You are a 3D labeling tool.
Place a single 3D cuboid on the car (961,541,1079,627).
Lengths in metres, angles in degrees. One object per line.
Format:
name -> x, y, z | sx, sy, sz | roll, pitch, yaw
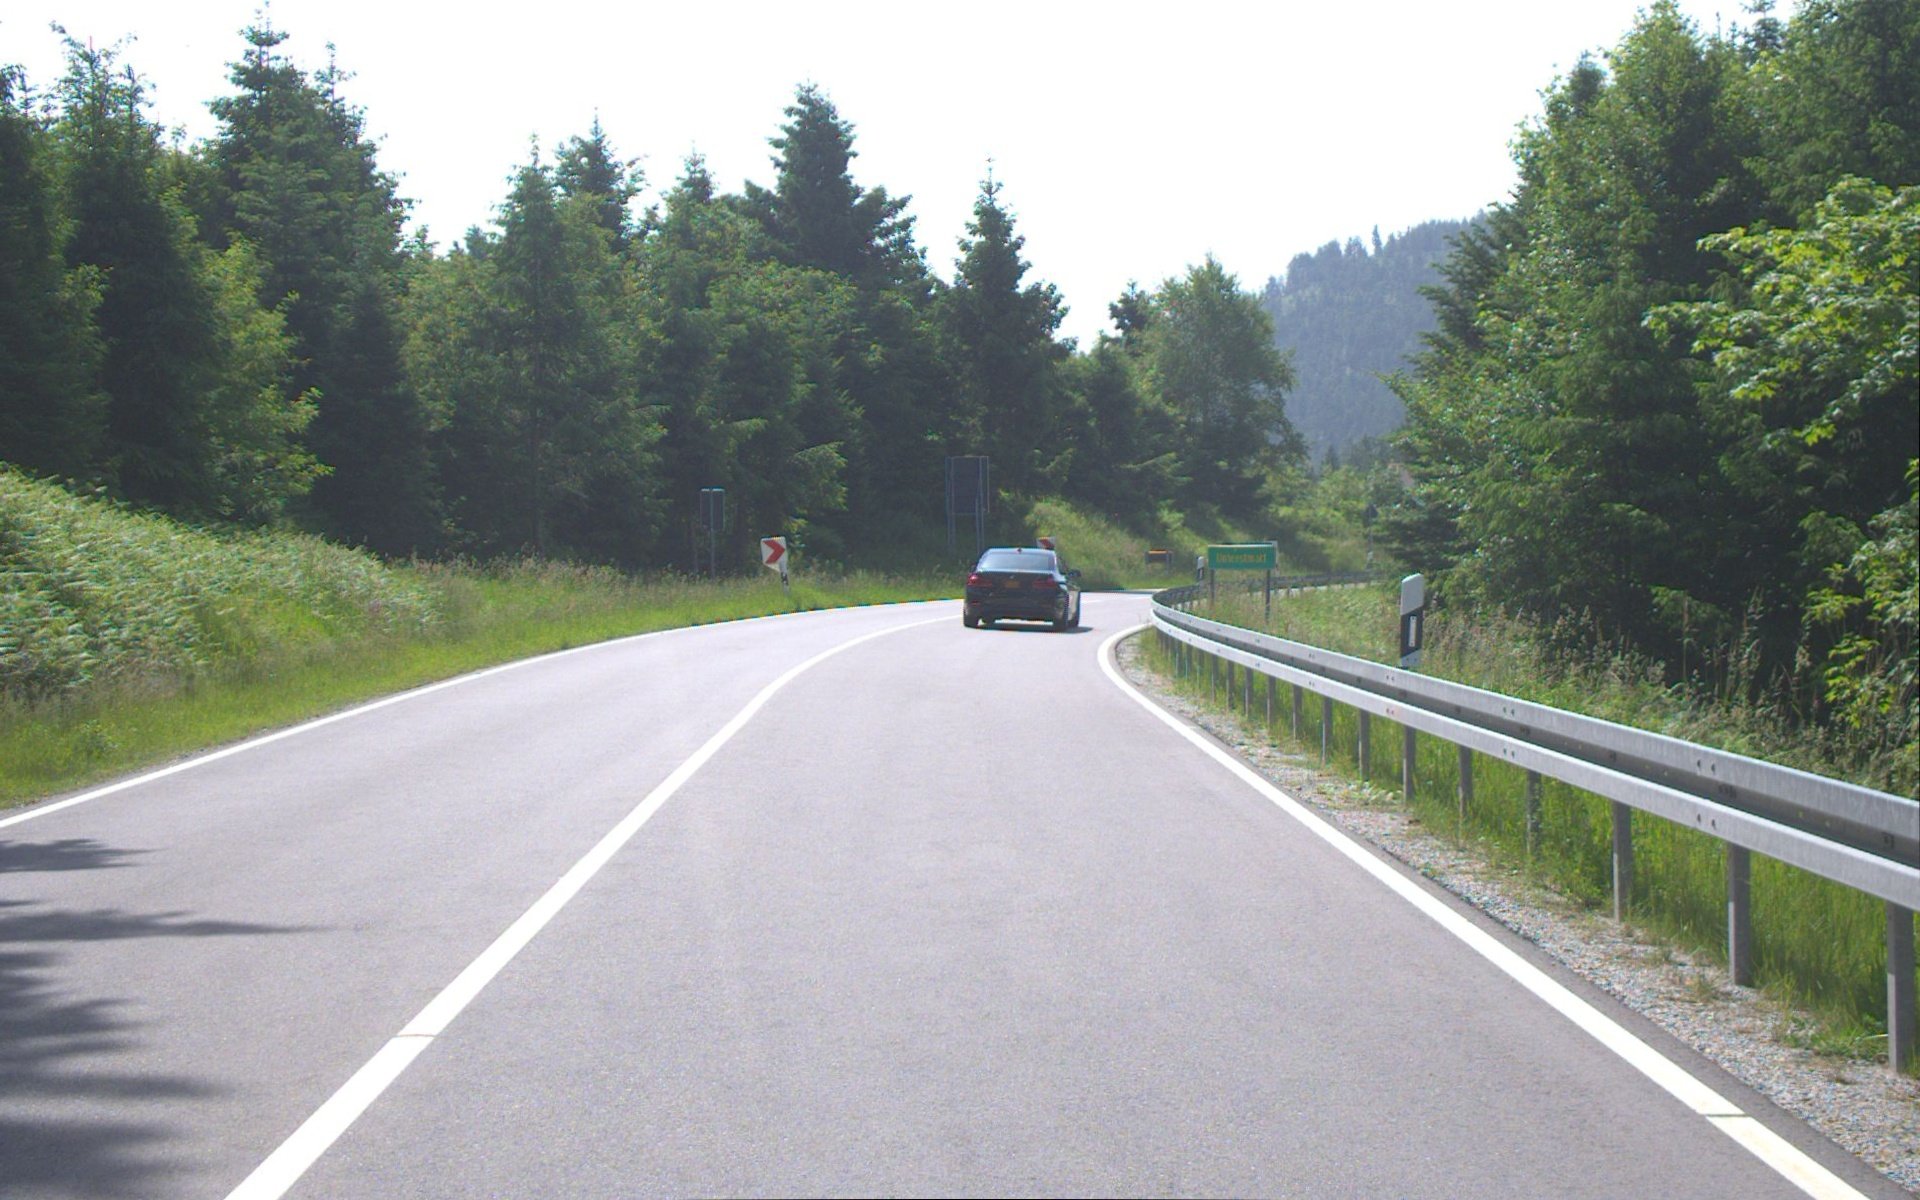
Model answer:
car -> 1.083, -0.301, 60.384 | 1.776, 1.437, 3.708 | 1, 1, 5
